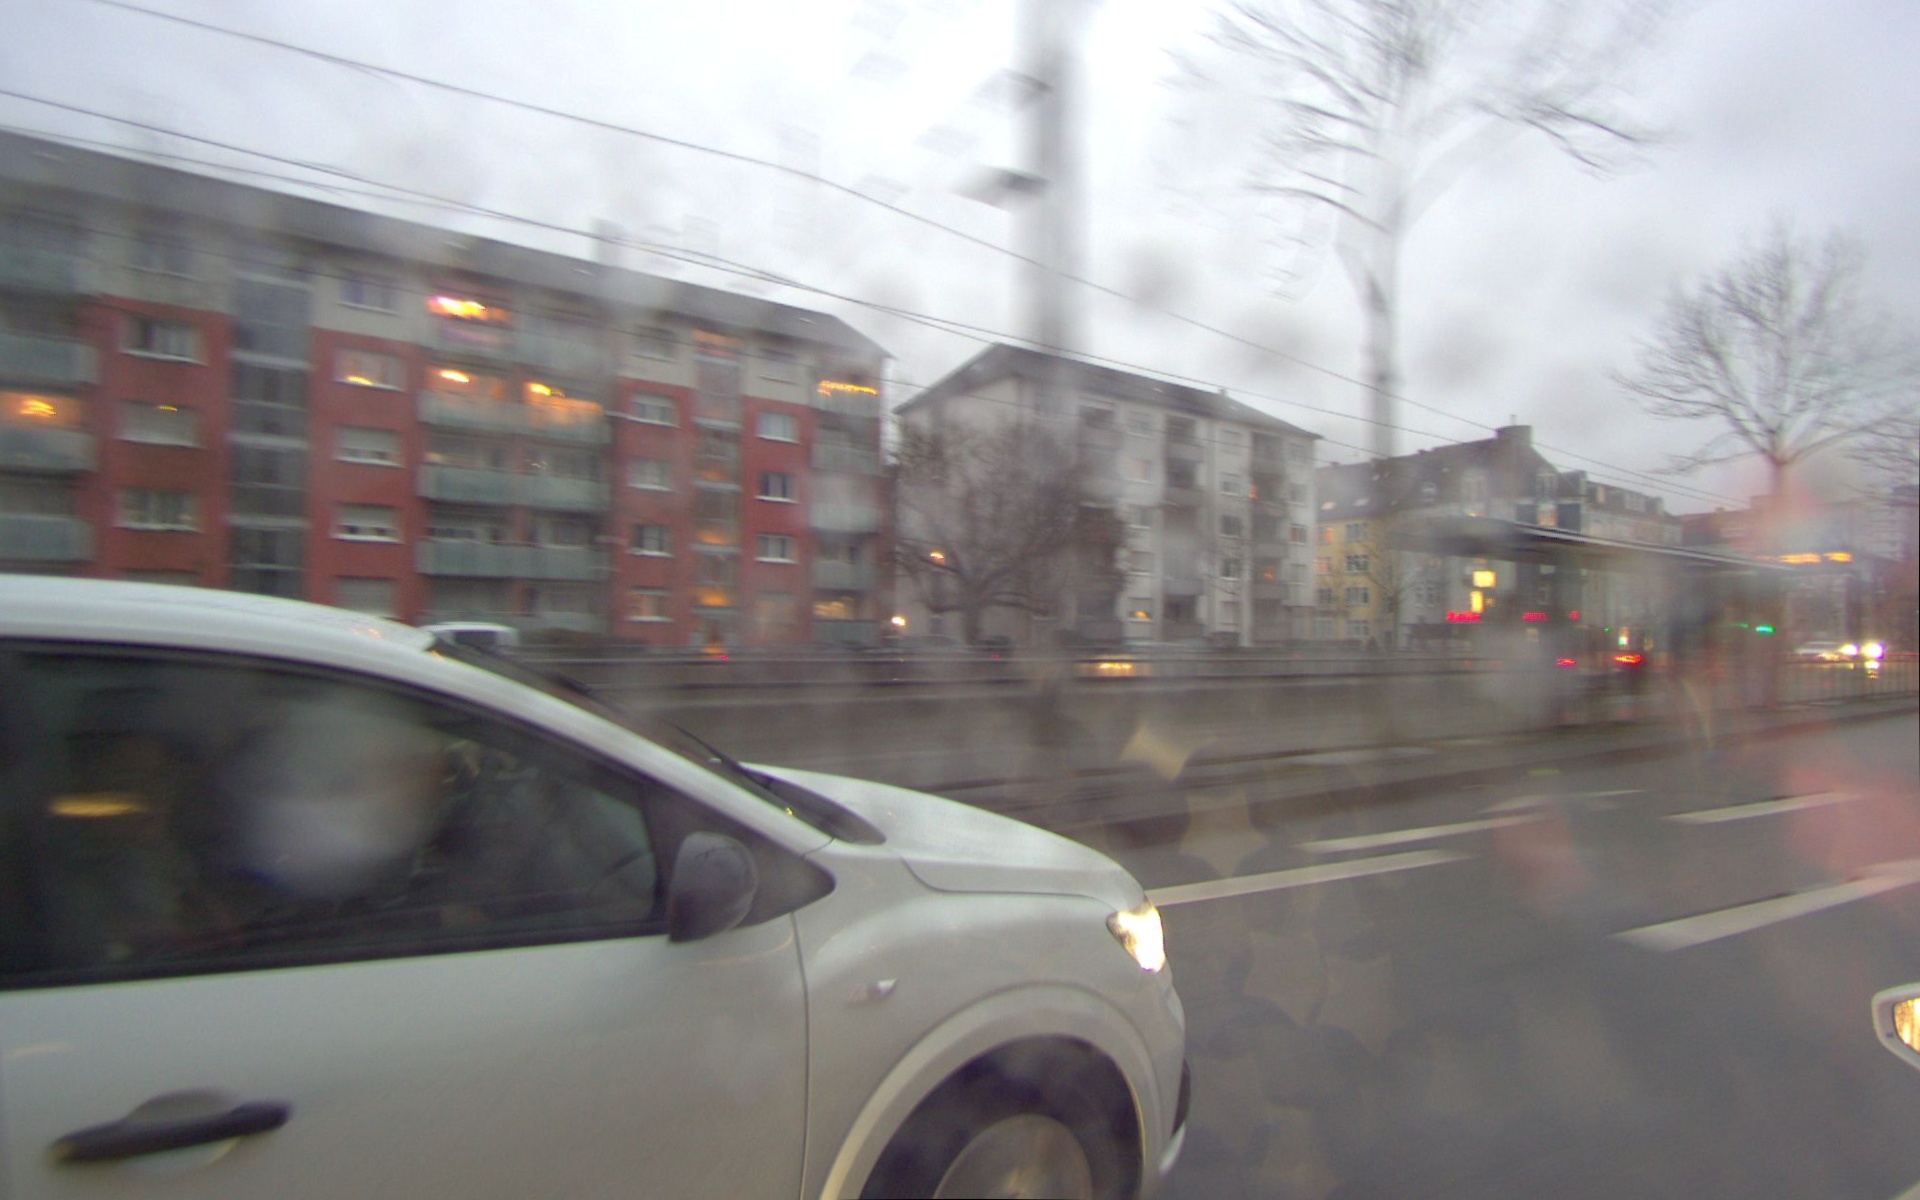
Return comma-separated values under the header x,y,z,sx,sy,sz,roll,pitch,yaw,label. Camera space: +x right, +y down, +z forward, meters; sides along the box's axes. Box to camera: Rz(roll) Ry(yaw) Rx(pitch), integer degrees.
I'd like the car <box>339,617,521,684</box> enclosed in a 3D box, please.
x,y,z,sx,sy,sz,roll,pitch,yaw,label
-14.109,1.360,26.809,4.108,1.667,1.714,3,-2,-34,car

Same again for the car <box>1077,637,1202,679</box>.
x,y,z,sx,sy,sz,roll,pitch,yaw,label
6.145,1.989,34.158,4.173,1.309,1.767,3,-2,-35,car

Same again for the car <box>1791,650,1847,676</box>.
x,y,z,sx,sy,sz,roll,pitch,yaw,label
55.235,4.053,64.573,3.719,1.517,1.749,3,-2,-33,car

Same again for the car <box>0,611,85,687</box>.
x,y,z,sx,sy,sz,roll,pitch,yaw,label
-21.340,0.986,21.166,4.107,1.564,1.714,3,-2,-34,car

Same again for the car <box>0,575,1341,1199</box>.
x,y,z,sx,sy,sz,roll,pitch,yaw,label
-1.280,0.735,1.961,3.955,1.485,1.700,3,-2,-31,car

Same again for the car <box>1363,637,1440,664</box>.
x,y,z,sx,sy,sz,roll,pitch,yaw,label
25.896,2.957,58.994,1.685,1.384,3.766,3,-2,-40,car

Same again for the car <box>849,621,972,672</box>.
x,y,z,sx,sy,sz,roll,pitch,yaw,label
-1.751,1.677,36.006,4.108,1.667,1.714,3,-2,-34,car
